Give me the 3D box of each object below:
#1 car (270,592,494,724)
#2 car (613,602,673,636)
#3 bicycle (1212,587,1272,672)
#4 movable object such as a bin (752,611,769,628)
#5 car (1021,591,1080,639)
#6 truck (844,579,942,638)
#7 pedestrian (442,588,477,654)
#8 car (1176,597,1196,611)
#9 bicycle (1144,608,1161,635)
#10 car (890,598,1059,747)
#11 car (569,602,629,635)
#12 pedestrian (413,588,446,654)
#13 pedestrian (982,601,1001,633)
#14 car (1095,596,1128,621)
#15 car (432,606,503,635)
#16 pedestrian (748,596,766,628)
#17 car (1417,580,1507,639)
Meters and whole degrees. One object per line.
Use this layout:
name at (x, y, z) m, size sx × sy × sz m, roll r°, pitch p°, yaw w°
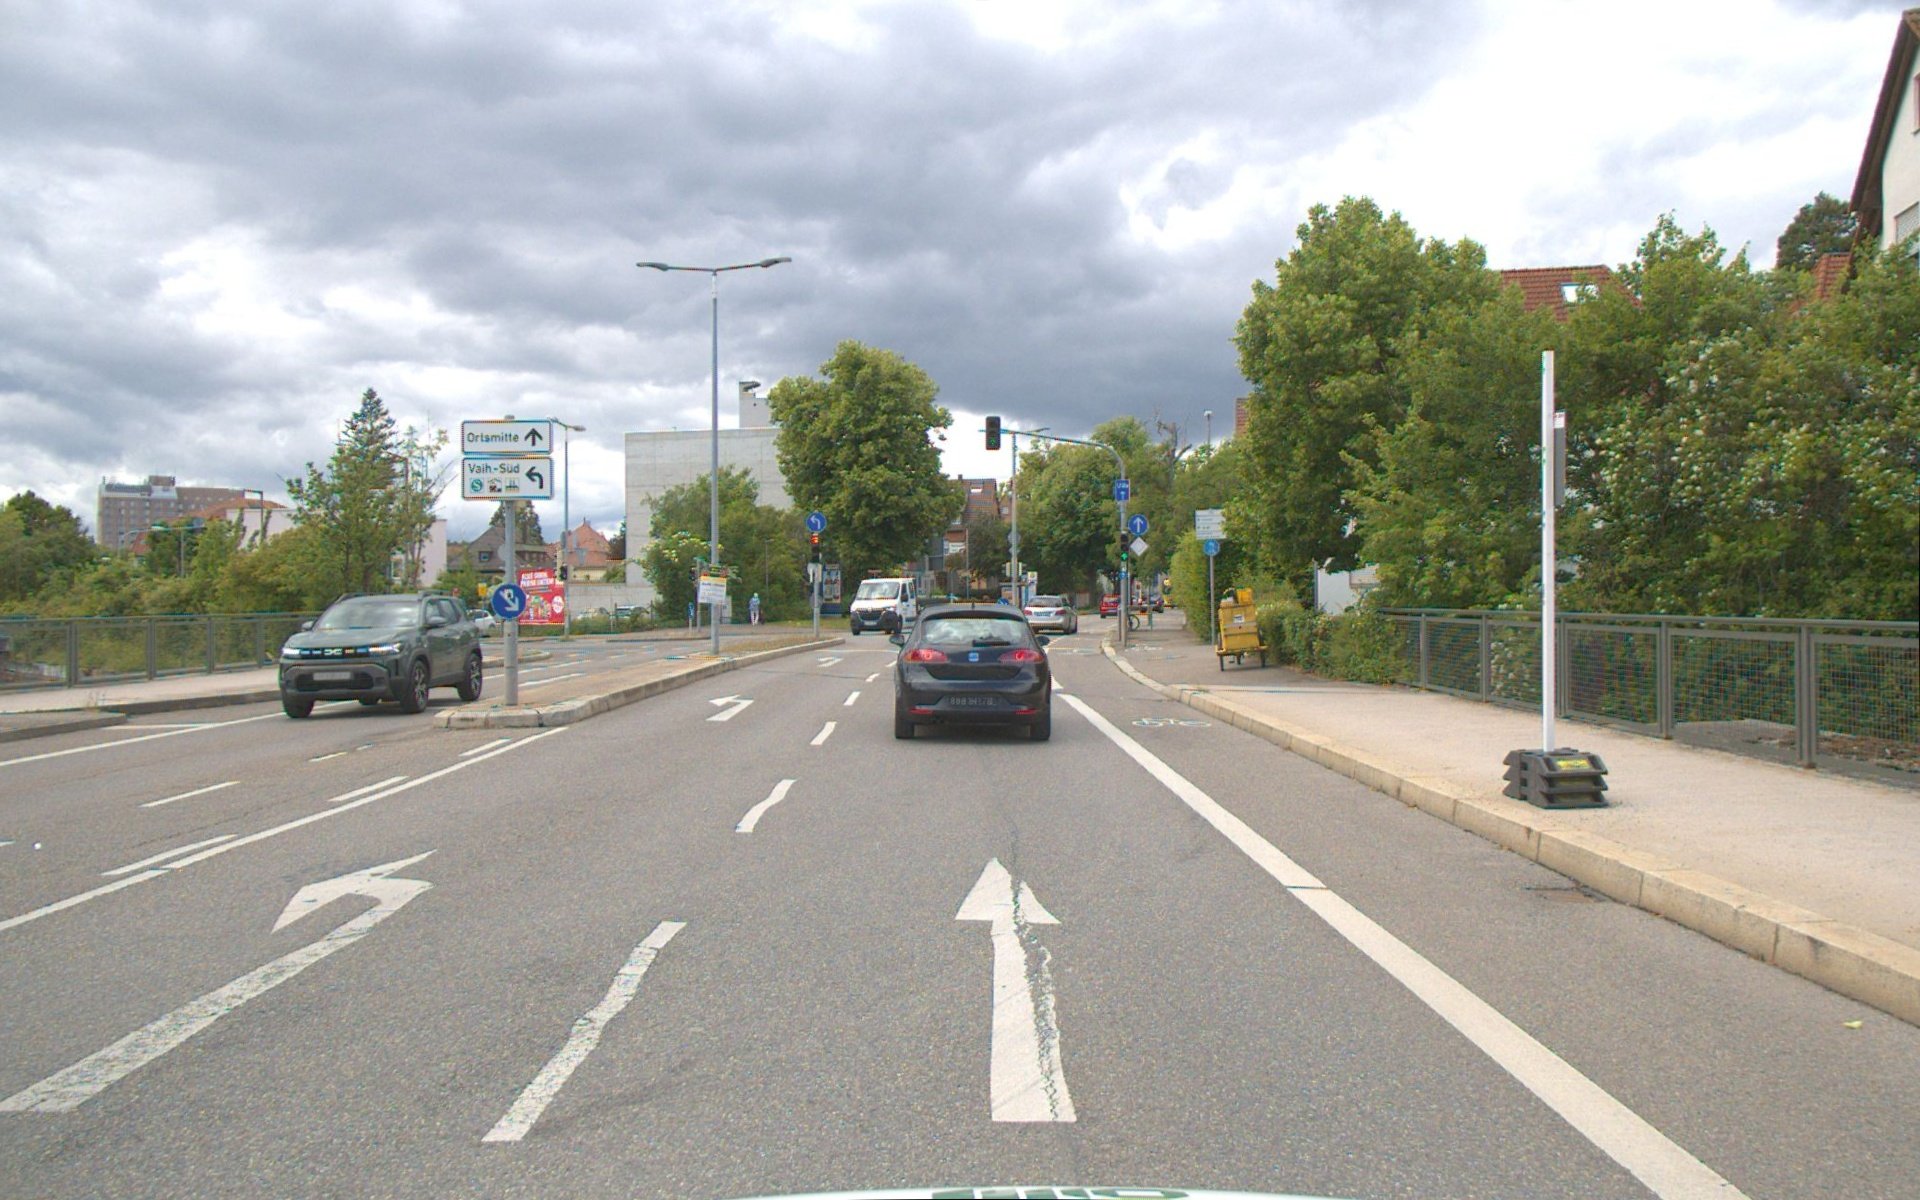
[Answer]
car at (-8.112, 0.754, 23.618) m, size 1.786 × 1.655 × 4.277 m, roll -1°, pitch 0°, yaw -2°
car at (-20.038, 1.163, 104.747) m, size 1.952 × 2.049 × 4.001 m, roll 2°, pitch 0°, yaw 19°
bicycle at (5.454, 0.531, 32.139) m, size 0.873 × 1.537 × 2.785 m, roll -3°, pitch 0°, yaw 5°
movable object such as a bin at (-9.922, 0.957, 82.401) m, size 0.641 × 0.812 × 0.898 m, roll -1°, pitch 0°, yaw 7°
car at (3.571, 0.566, 64.417) m, size 1.780 × 1.729 × 4.257 m, roll -1°, pitch 0°, yaw 10°
truck at (-2.683, 0.313, 68.536) m, size 2.080 × 2.304 × 6.811 m, roll -1°, pitch 0°, yaw 15°
pedestrian at (-12.724, 0.521, 42.080) m, size 0.643 × 1.662 × 1.069 m, roll 1°, pitch 0°, yaw -6°
car at (26.319, 0.446, 192.632) m, size 1.809 × 1.624 × 4.109 m, roll -1°, pitch 0°, yaw 15°
bicycle at (7.765, 0.857, 66.679) m, size 0.614 × 1.046 × 1.505 m, roll 0°, pitch 0°, yaw 8°
car at (0.255, 0.743, 18.979) m, size 1.722 × 1.474 × 3.716 m, roll 1°, pitch 1°, yaw 3°
car at (-23.265, 1.198, 106.629) m, size 1.952 × 2.049 × 4.001 m, roll 2°, pitch 0°, yaw 19°
pedestrian at (-13.467, 0.533, 42.000) m, size 0.643 × 1.662 × 0.832 m, roll 1°, pitch 0°, yaw -6°
pedestrian at (1.481, 0.795, 77.689) m, size 0.758 × 1.431 × 0.600 m, roll 5°, pitch 3°, yaw -3°
car at (9.874, 0.518, 107.697) m, size 1.900 × 1.507 × 4.256 m, roll -1°, pitch 0°, yaw 8°
car at (-28.660, 1.199, 96.334) m, size 1.760 × 1.581 × 3.998 m, roll -1°, pitch 0°, yaw 25°
pedestrian at (-10.016, 0.585, 81.685) m, size 0.641 × 1.549 × 0.924 m, roll -1°, pitch 0°, yaw 7°
car at (13.448, 0.236, 44.482) m, size 1.632 × 1.475 × 4.003 m, roll -2°, pitch 0°, yaw 7°
